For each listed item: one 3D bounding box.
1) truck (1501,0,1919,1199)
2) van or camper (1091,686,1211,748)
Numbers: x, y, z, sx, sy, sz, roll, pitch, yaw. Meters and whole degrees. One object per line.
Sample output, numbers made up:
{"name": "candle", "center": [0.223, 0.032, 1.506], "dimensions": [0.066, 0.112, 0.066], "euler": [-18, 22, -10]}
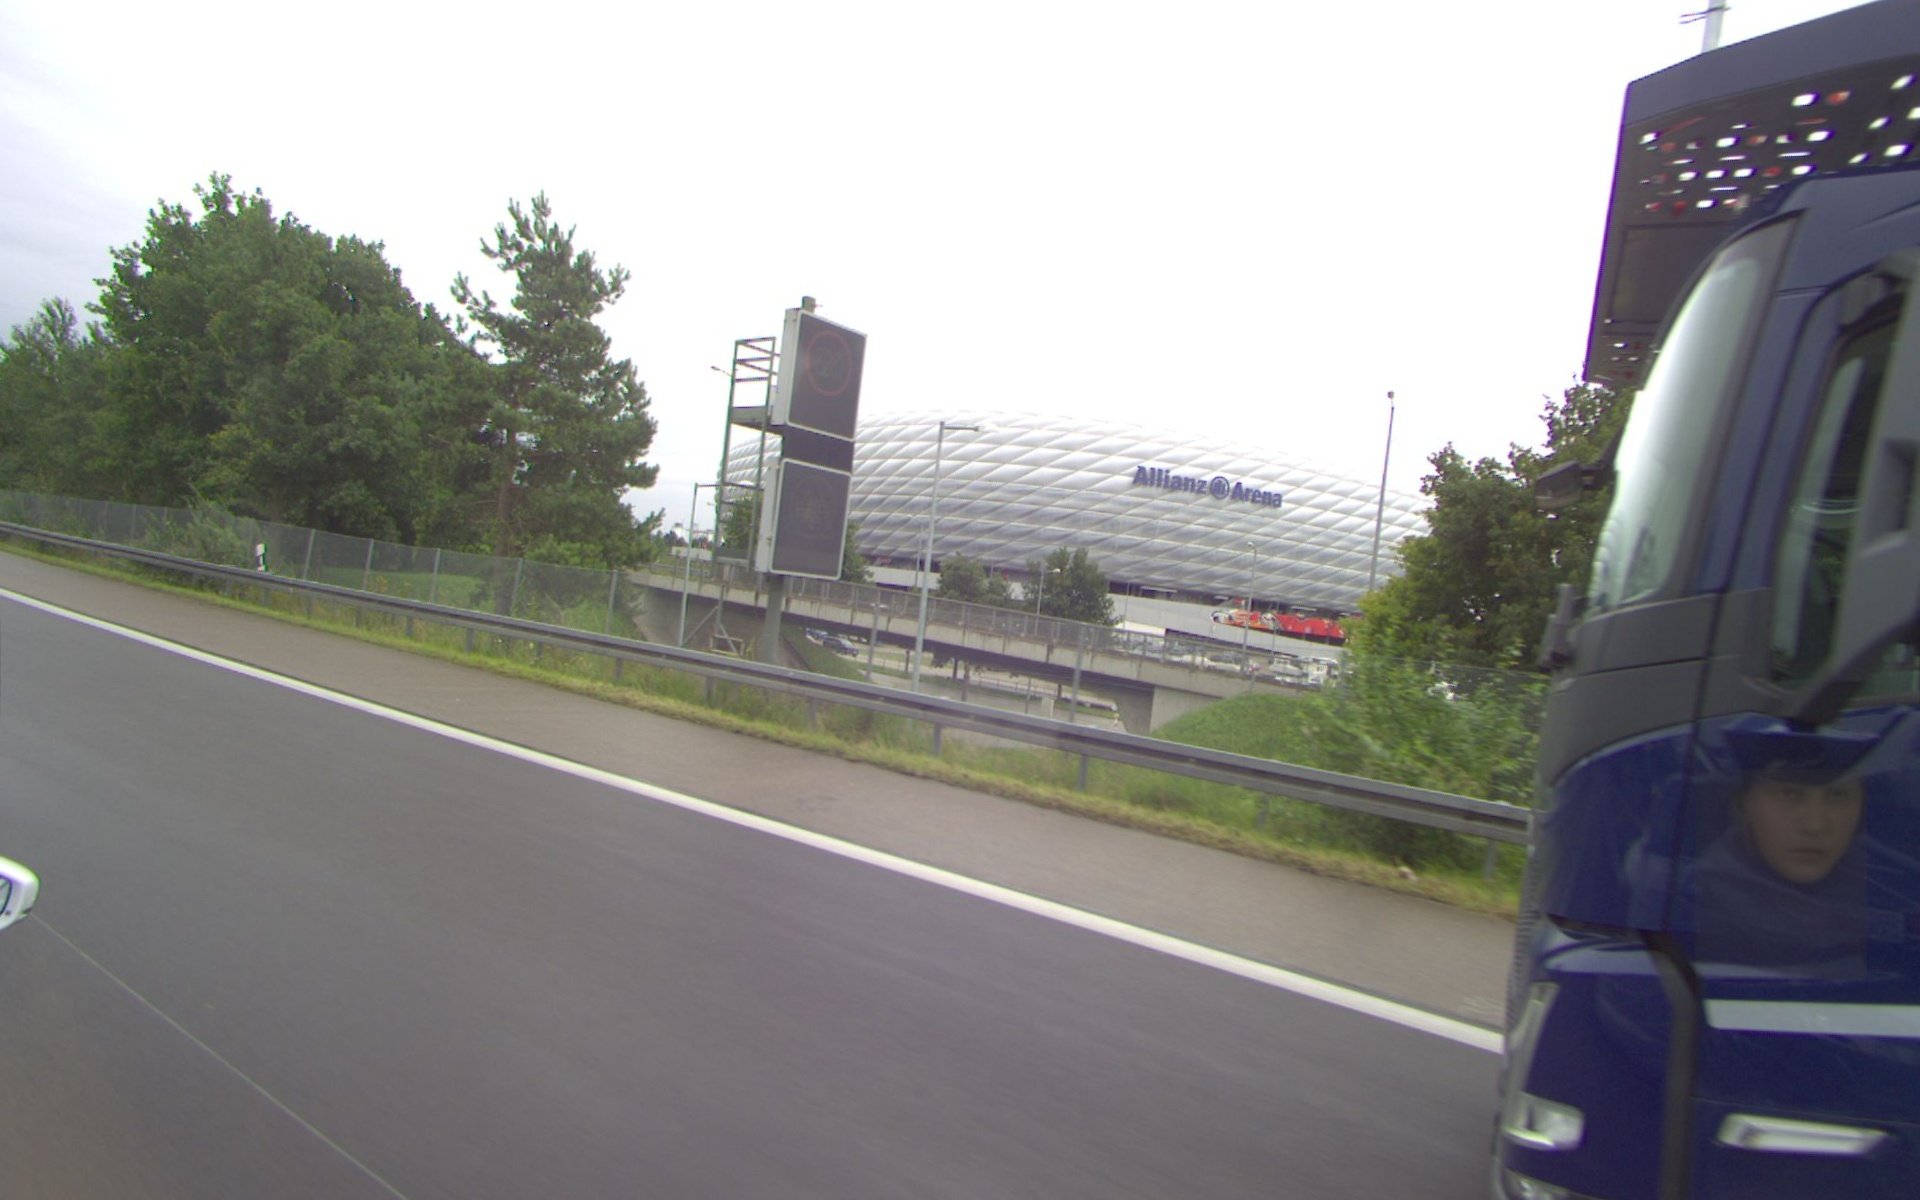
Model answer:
{"name": "truck", "center": [5.798, 0.331, 0.867], "dimensions": [8.974, 4.013, 2.746], "euler": [8, -2, 30]}
{"name": "van or camper", "center": [12.078, 7.372, 64.140], "dimensions": [7.145, 2.586, 2.146], "euler": [8, 4, 38]}
